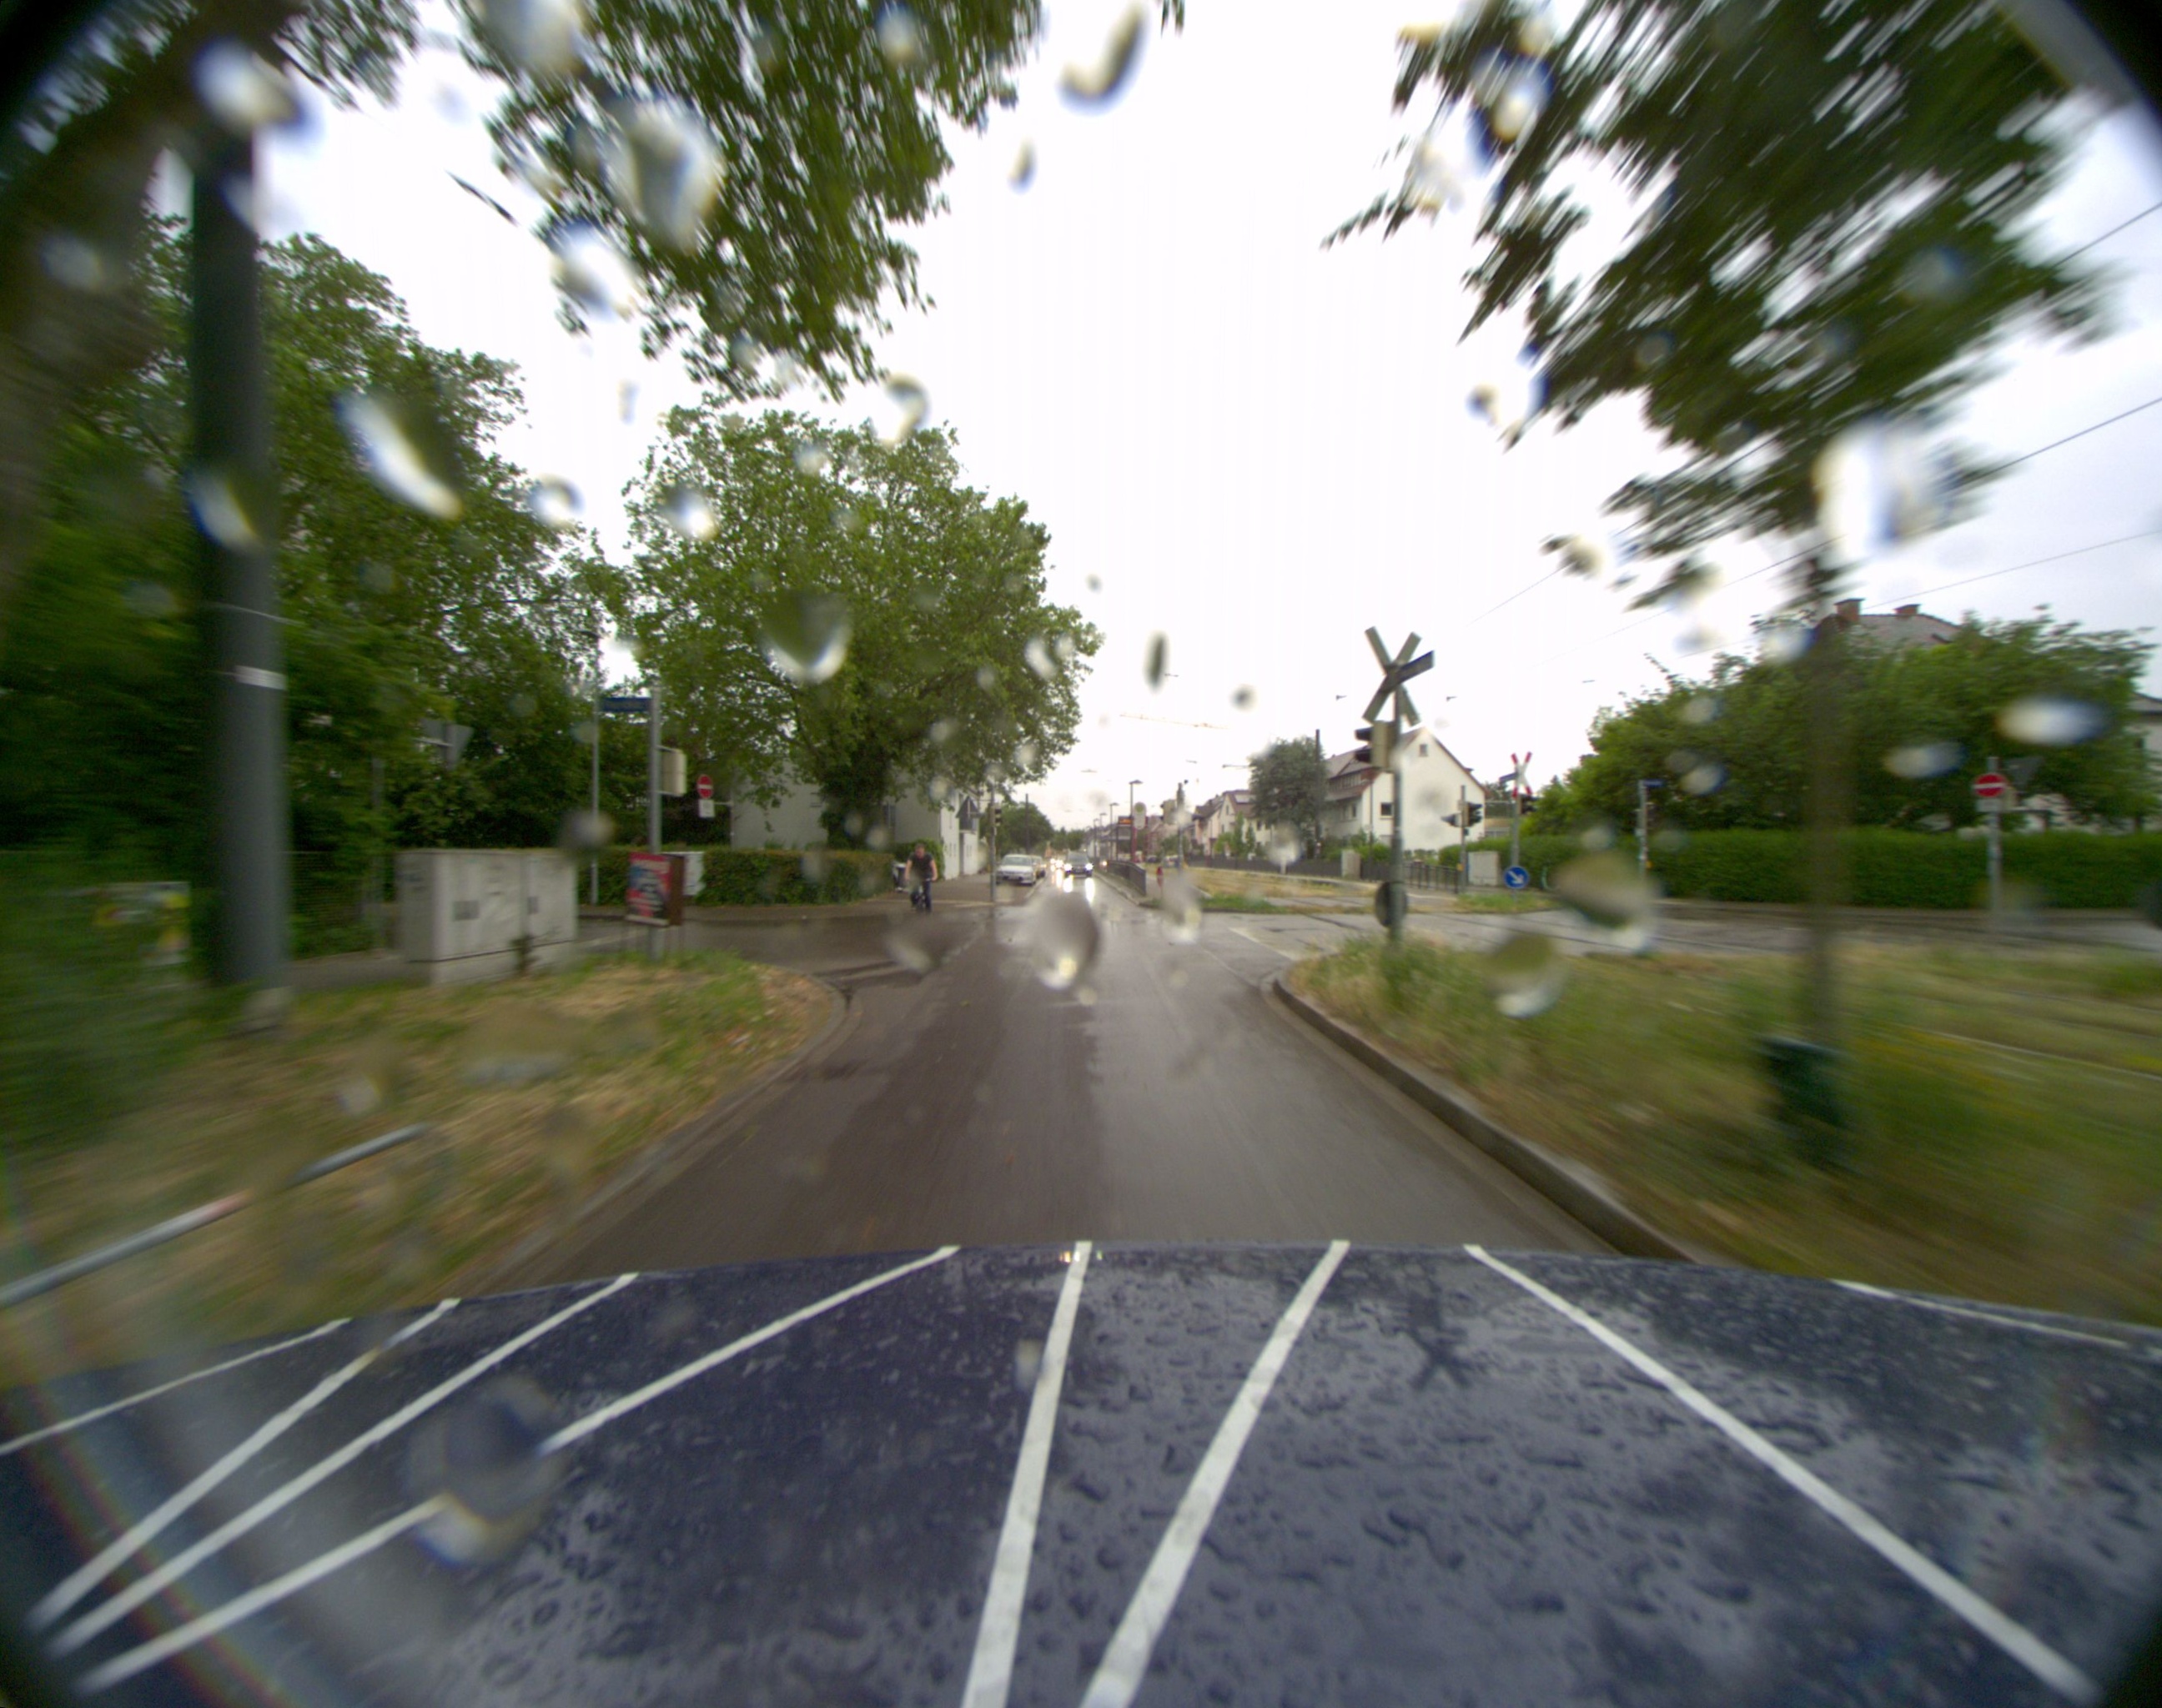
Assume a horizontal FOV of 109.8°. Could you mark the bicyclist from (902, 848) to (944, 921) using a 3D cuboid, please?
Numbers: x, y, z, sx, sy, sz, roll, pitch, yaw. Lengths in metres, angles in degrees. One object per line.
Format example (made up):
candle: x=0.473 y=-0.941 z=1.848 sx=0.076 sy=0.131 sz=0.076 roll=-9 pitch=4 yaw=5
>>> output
bicyclist: x=-3.158 y=0.592 z=15.215 sx=0.675 sy=1.421 sz=0.753 roll=1 pitch=1 yaw=-2

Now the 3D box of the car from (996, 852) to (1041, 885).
car: x=-2.997 y=0.671 z=37.219 sx=1.780 sy=1.477 sz=4.000 roll=2 pitch=0 yaw=0

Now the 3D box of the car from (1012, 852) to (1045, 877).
car: x=-3.295 y=0.649 z=48.365 sx=1.780 sy=1.477 sz=4.000 roll=2 pitch=0 yaw=0

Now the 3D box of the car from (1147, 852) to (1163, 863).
car: x=12.634 y=0.580 z=129.914 sx=2.000 sy=2.002 sz=3.997 roll=0 pitch=0 yaw=-6

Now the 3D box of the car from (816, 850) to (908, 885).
car: x=-9.784 y=0.581 z=34.127 sx=3.578 sy=1.399 sz=1.677 roll=2 pitch=0 yaw=2

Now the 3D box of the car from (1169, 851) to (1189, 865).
car: x=13.960 y=0.603 z=108.544 sx=1.999 sy=2.002 sz=3.998 roll=0 pitch=0 yaw=-5

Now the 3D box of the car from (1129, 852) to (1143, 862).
car: x=10.904 y=0.620 z=150.929 sx=2.000 sy=2.002 sz=3.997 roll=0 pitch=0 yaw=-6

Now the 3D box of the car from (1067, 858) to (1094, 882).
car: x=-0.033 y=1.090 z=52.362 sx=1.780 sy=1.477 sz=4.000 roll=2 pitch=0 yaw=0

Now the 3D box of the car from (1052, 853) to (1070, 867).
car: x=-2.170 y=0.648 z=82.337 sx=1.780 sy=1.477 sz=4.000 roll=2 pitch=0 yaw=0

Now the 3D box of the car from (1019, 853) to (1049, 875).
car: x=-3.269 y=0.679 z=53.438 sx=1.780 sy=1.477 sz=4.000 roll=2 pitch=0 yaw=0

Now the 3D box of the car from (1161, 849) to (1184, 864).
car: x=12.043 y=0.347 z=100.293 sx=2.000 sy=2.002 sz=3.996 roll=0 pitch=0 yaw=-9

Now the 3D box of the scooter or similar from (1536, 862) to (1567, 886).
scooter or similar: x=18.232 y=0.760 z=29.445 sx=0.347 sy=0.905 sz=1.258 roll=0 pitch=0 yaw=-4

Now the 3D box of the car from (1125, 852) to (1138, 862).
car: x=10.339 y=0.562 z=156.273 sx=2.000 sy=2.002 sz=3.997 roll=0 pitch=0 yaw=-6

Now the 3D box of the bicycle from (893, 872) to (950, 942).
bicycle: x=-3.163 y=1.005 z=15.255 sx=0.675 sy=1.137 sz=2.444 roll=1 pitch=2 yaw=-2
